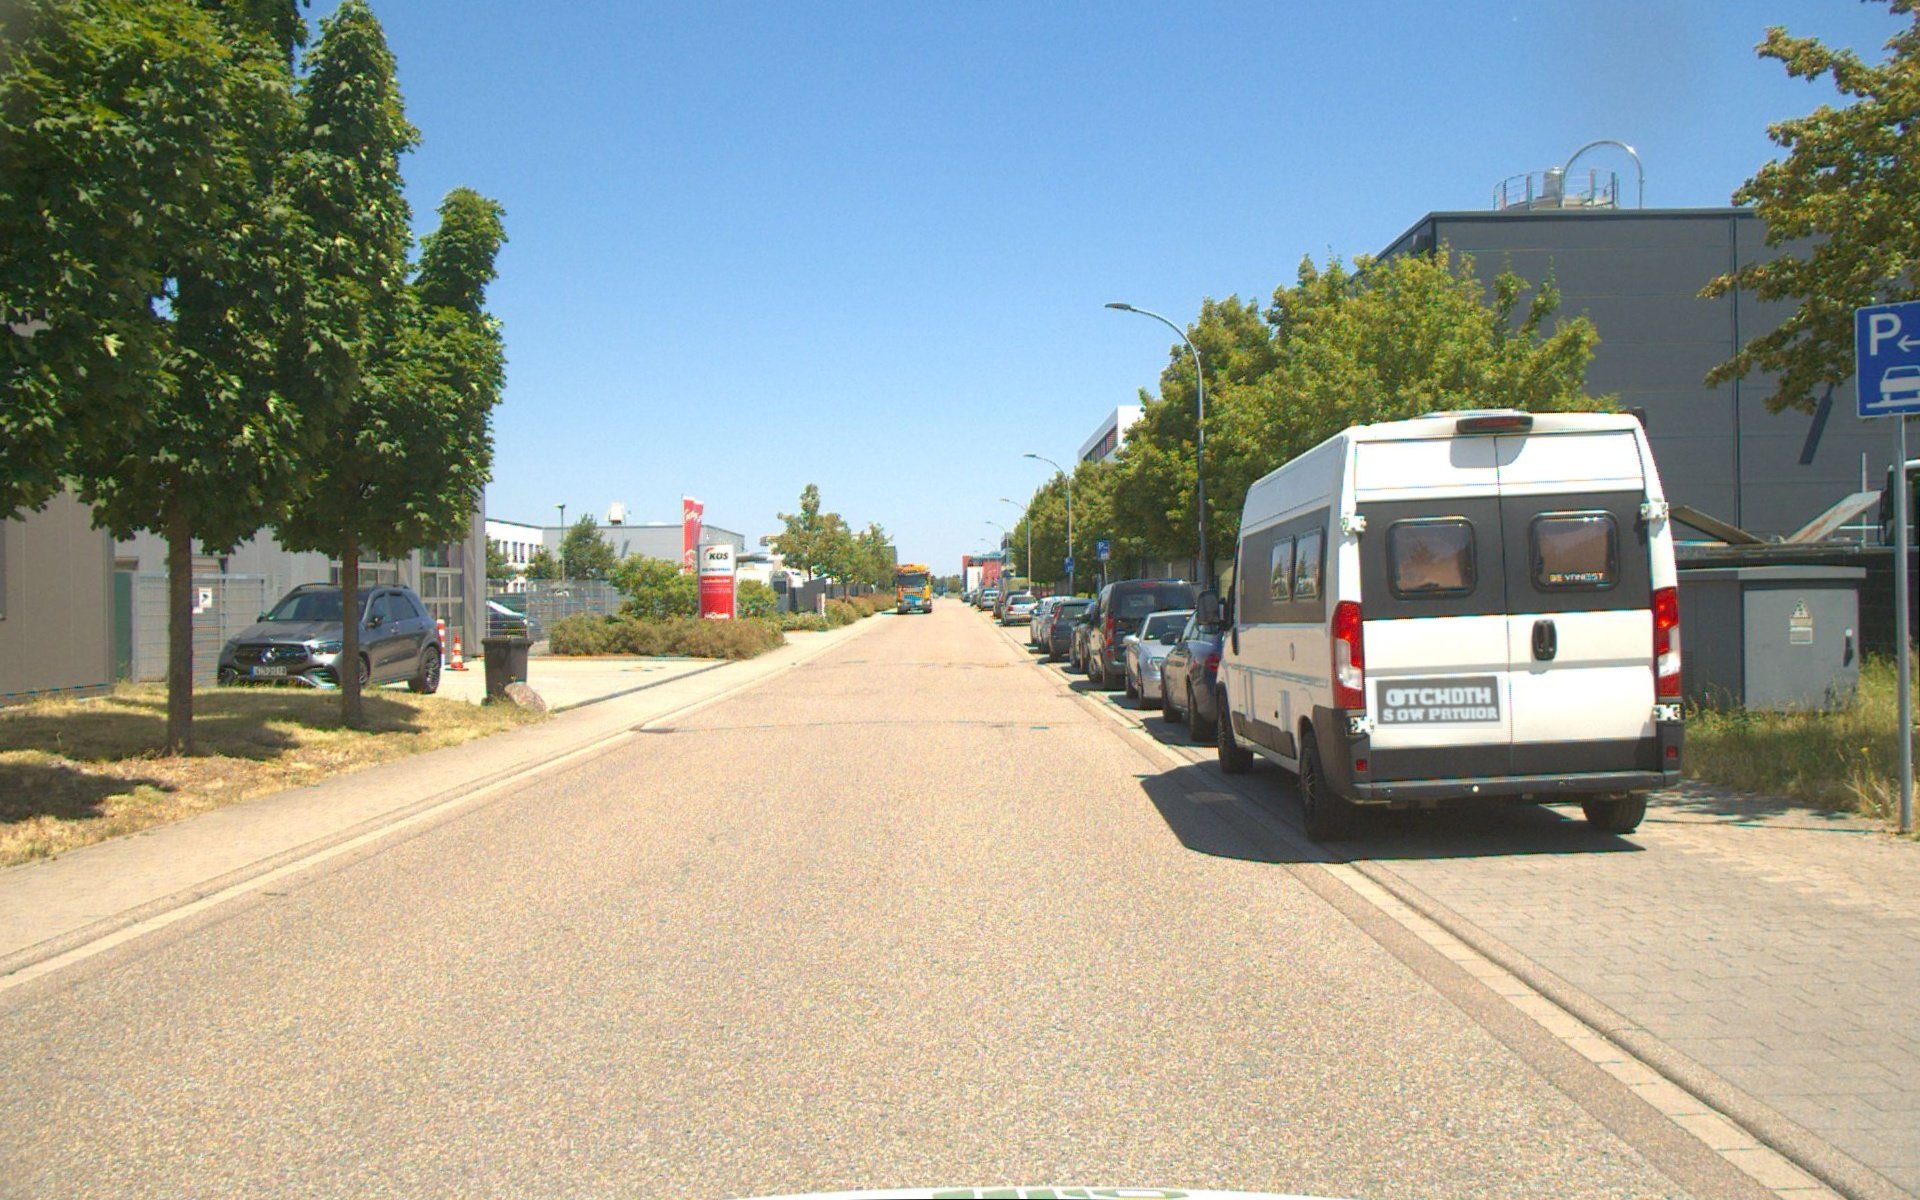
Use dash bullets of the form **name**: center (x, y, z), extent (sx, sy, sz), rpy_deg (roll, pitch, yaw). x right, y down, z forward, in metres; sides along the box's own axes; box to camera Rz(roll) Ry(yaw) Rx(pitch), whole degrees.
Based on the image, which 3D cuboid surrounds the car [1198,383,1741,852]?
- **car**: center (3.280, 0.095, 12.299), extent (2.220, 2.541, 6.153), rpy_deg (-2, 0, 2)

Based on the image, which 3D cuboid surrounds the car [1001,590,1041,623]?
- **car**: center (2.870, 0.300, 78.506), extent (1.683, 1.475, 3.645), rpy_deg (-2, 0, -1)

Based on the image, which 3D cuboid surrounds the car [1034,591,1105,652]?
- **car**: center (3.100, 0.577, 47.558), extent (1.712, 1.589, 4.506), rpy_deg (-2, 1, 0)

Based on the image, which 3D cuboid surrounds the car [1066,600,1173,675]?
- **car**: center (3.373, 0.764, 35.780), extent (1.813, 1.456, 4.712), rpy_deg (-2, 0, 0)

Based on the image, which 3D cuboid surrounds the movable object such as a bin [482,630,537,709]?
- **movable object such as a bin**: center (-6.463, 0.987, 23.739), extent (0.567, 1.084, 0.765), rpy_deg (1, 0, -1)

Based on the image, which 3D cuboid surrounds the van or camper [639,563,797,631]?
- **van or camper**: center (-11.693, -0.156, 80.293), extent (7.235, 3.090, 2.790), rpy_deg (-1, 0, -1)

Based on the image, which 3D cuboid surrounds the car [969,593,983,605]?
- **car**: center (1.854, -0.121, 190.080), extent (1.465, 1.434, 3.500), rpy_deg (-1, 0, -1)

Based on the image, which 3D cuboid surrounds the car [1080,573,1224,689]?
- **car**: center (3.310, 0.518, 29.283), extent (1.953, 1.857, 4.353), rpy_deg (-2, 0, -1)

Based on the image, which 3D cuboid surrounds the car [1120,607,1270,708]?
- **car**: center (3.343, 0.796, 24.234), extent (1.676, 1.310, 4.115), rpy_deg (-2, -1, 1)

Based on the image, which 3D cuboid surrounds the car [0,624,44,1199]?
- **car**: center (-3.185, 0.807, 1.990), extent (1.694, 1.484, 4.491), rpy_deg (-1, 0, -1)

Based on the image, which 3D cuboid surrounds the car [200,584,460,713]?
- **car**: center (-9.628, 0.655, 25.766), extent (1.952, 1.765, 4.915), rpy_deg (0, 1, 3)

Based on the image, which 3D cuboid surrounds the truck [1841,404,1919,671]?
- **truck**: center (18.787, -1.067, 25.109), extent (9.800, 3.889, 3.029), rpy_deg (-2, 0, -11)

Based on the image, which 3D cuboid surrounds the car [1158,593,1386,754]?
- **car**: center (3.359, 0.718, 18.634), extent (1.791, 1.519, 4.479), rpy_deg (-2, 0, 2)

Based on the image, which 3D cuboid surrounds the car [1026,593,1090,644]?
- **car**: center (3.111, 0.562, 53.140), extent (1.603, 1.494, 3.744), rpy_deg (-2, 0, -3)

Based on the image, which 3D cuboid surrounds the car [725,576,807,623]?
- **car**: center (-11.299, -0.045, 96.619), extent (4.622, 2.631, 1.998), rpy_deg (-1, 0, -5)

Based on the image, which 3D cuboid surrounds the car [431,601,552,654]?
- **car**: center (-14.946, 0.867, 52.879), extent (3.432, 1.579, 1.556), rpy_deg (-1, 0, -6)

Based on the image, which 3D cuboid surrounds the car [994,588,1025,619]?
- **car**: center (2.851, 0.180, 96.347), extent (1.686, 1.724, 3.984), rpy_deg (-1, 0, 0)

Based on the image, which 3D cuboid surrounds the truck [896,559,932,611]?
- **truck**: center (-3.326, -1.080, 120.972), extent (2.399, 3.574, 8.272), rpy_deg (-2, 1, -1)

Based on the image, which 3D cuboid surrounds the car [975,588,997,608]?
- **car**: center (1.939, -0.154, 125.521), extent (1.552, 1.434, 3.500), rpy_deg (-1, 0, -1)

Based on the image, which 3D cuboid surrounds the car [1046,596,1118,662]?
- **car**: center (3.077, 0.691, 41.757), extent (1.673, 1.531, 4.708), rpy_deg (-2, 0, 4)
